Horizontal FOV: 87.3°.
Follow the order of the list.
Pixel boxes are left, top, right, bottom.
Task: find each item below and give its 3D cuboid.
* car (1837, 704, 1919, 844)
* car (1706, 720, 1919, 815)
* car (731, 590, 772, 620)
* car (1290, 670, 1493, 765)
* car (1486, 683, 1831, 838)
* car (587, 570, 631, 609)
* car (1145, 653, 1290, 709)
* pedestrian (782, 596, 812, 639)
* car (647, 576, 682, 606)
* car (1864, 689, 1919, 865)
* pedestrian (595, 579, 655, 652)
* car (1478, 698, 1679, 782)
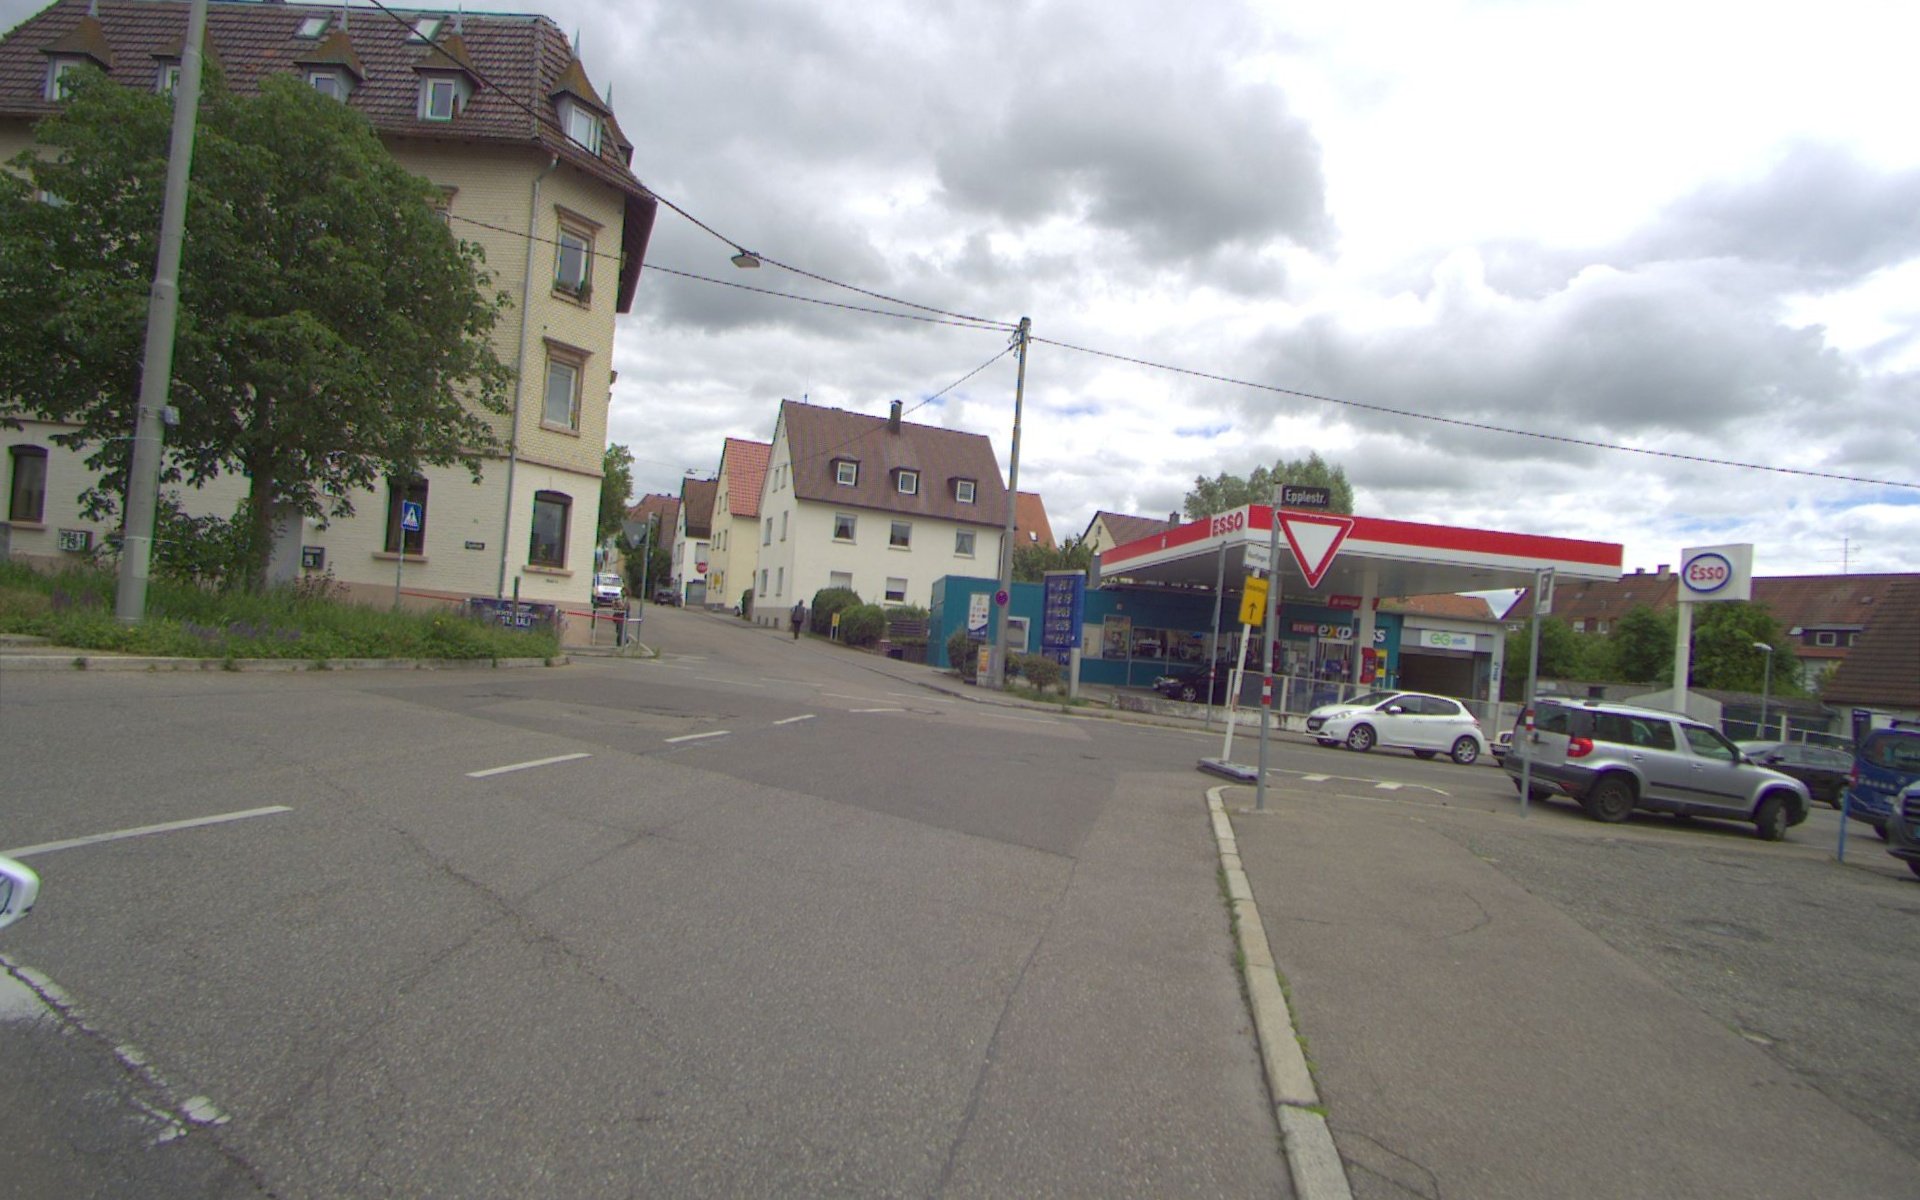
[{"bbox_3d":[16.486,2.953,15.613,4.249,1.967,1.772,8,1,-7],"label":"car"},{"bbox_3d":[20.421,3.974,24.045,3.930,1.613,1.723,8,-3,-5],"label":"car"},{"bbox_3d":[-13.488,0.335,64.948,1.799,1.618,3.872,8,-3,-21],"label":"car"},{"bbox_3d":[9.814,2.656,23.041,3.763,1.498,1.773,8,1,-6],"label":"car"},{"bbox_3d":[10.298,2.342,14.978,3.931,1.636,1.775,8,-3,-7],"label":"car"},{"bbox_3d":[-21.540,-0.625,61.636,1.975,2.036,3.980,8,-3,-24],"label":"car"},{"bbox_3d":[8.923,2.807,35.036,4.403,1.479,1.923,5,-1,-6],"label":"car"},{"bbox_3d":[-7.176,0.755,44.306,0.905,1.758,0.740,8,-2,-32],"label":"pedestrian"},{"bbox_3d":[-23.424,-0.696,79.656,1.975,2.036,3.980,8,-3,-24],"label":"car"},{"bbox_3d":[12.527,2.168,10.267,4.804,1.822,1.904,8,-2,-1],"label":"car"},{"bbox_3d":[-8.878,0.420,26.673,0.846,1.752,1.021,6,-2,31],"label":"pedestrian"},{"bbox_3d":[14.489,3.270,23.689,3.700,1.492,1.627,5,-1,-4],"label":"car"}]
